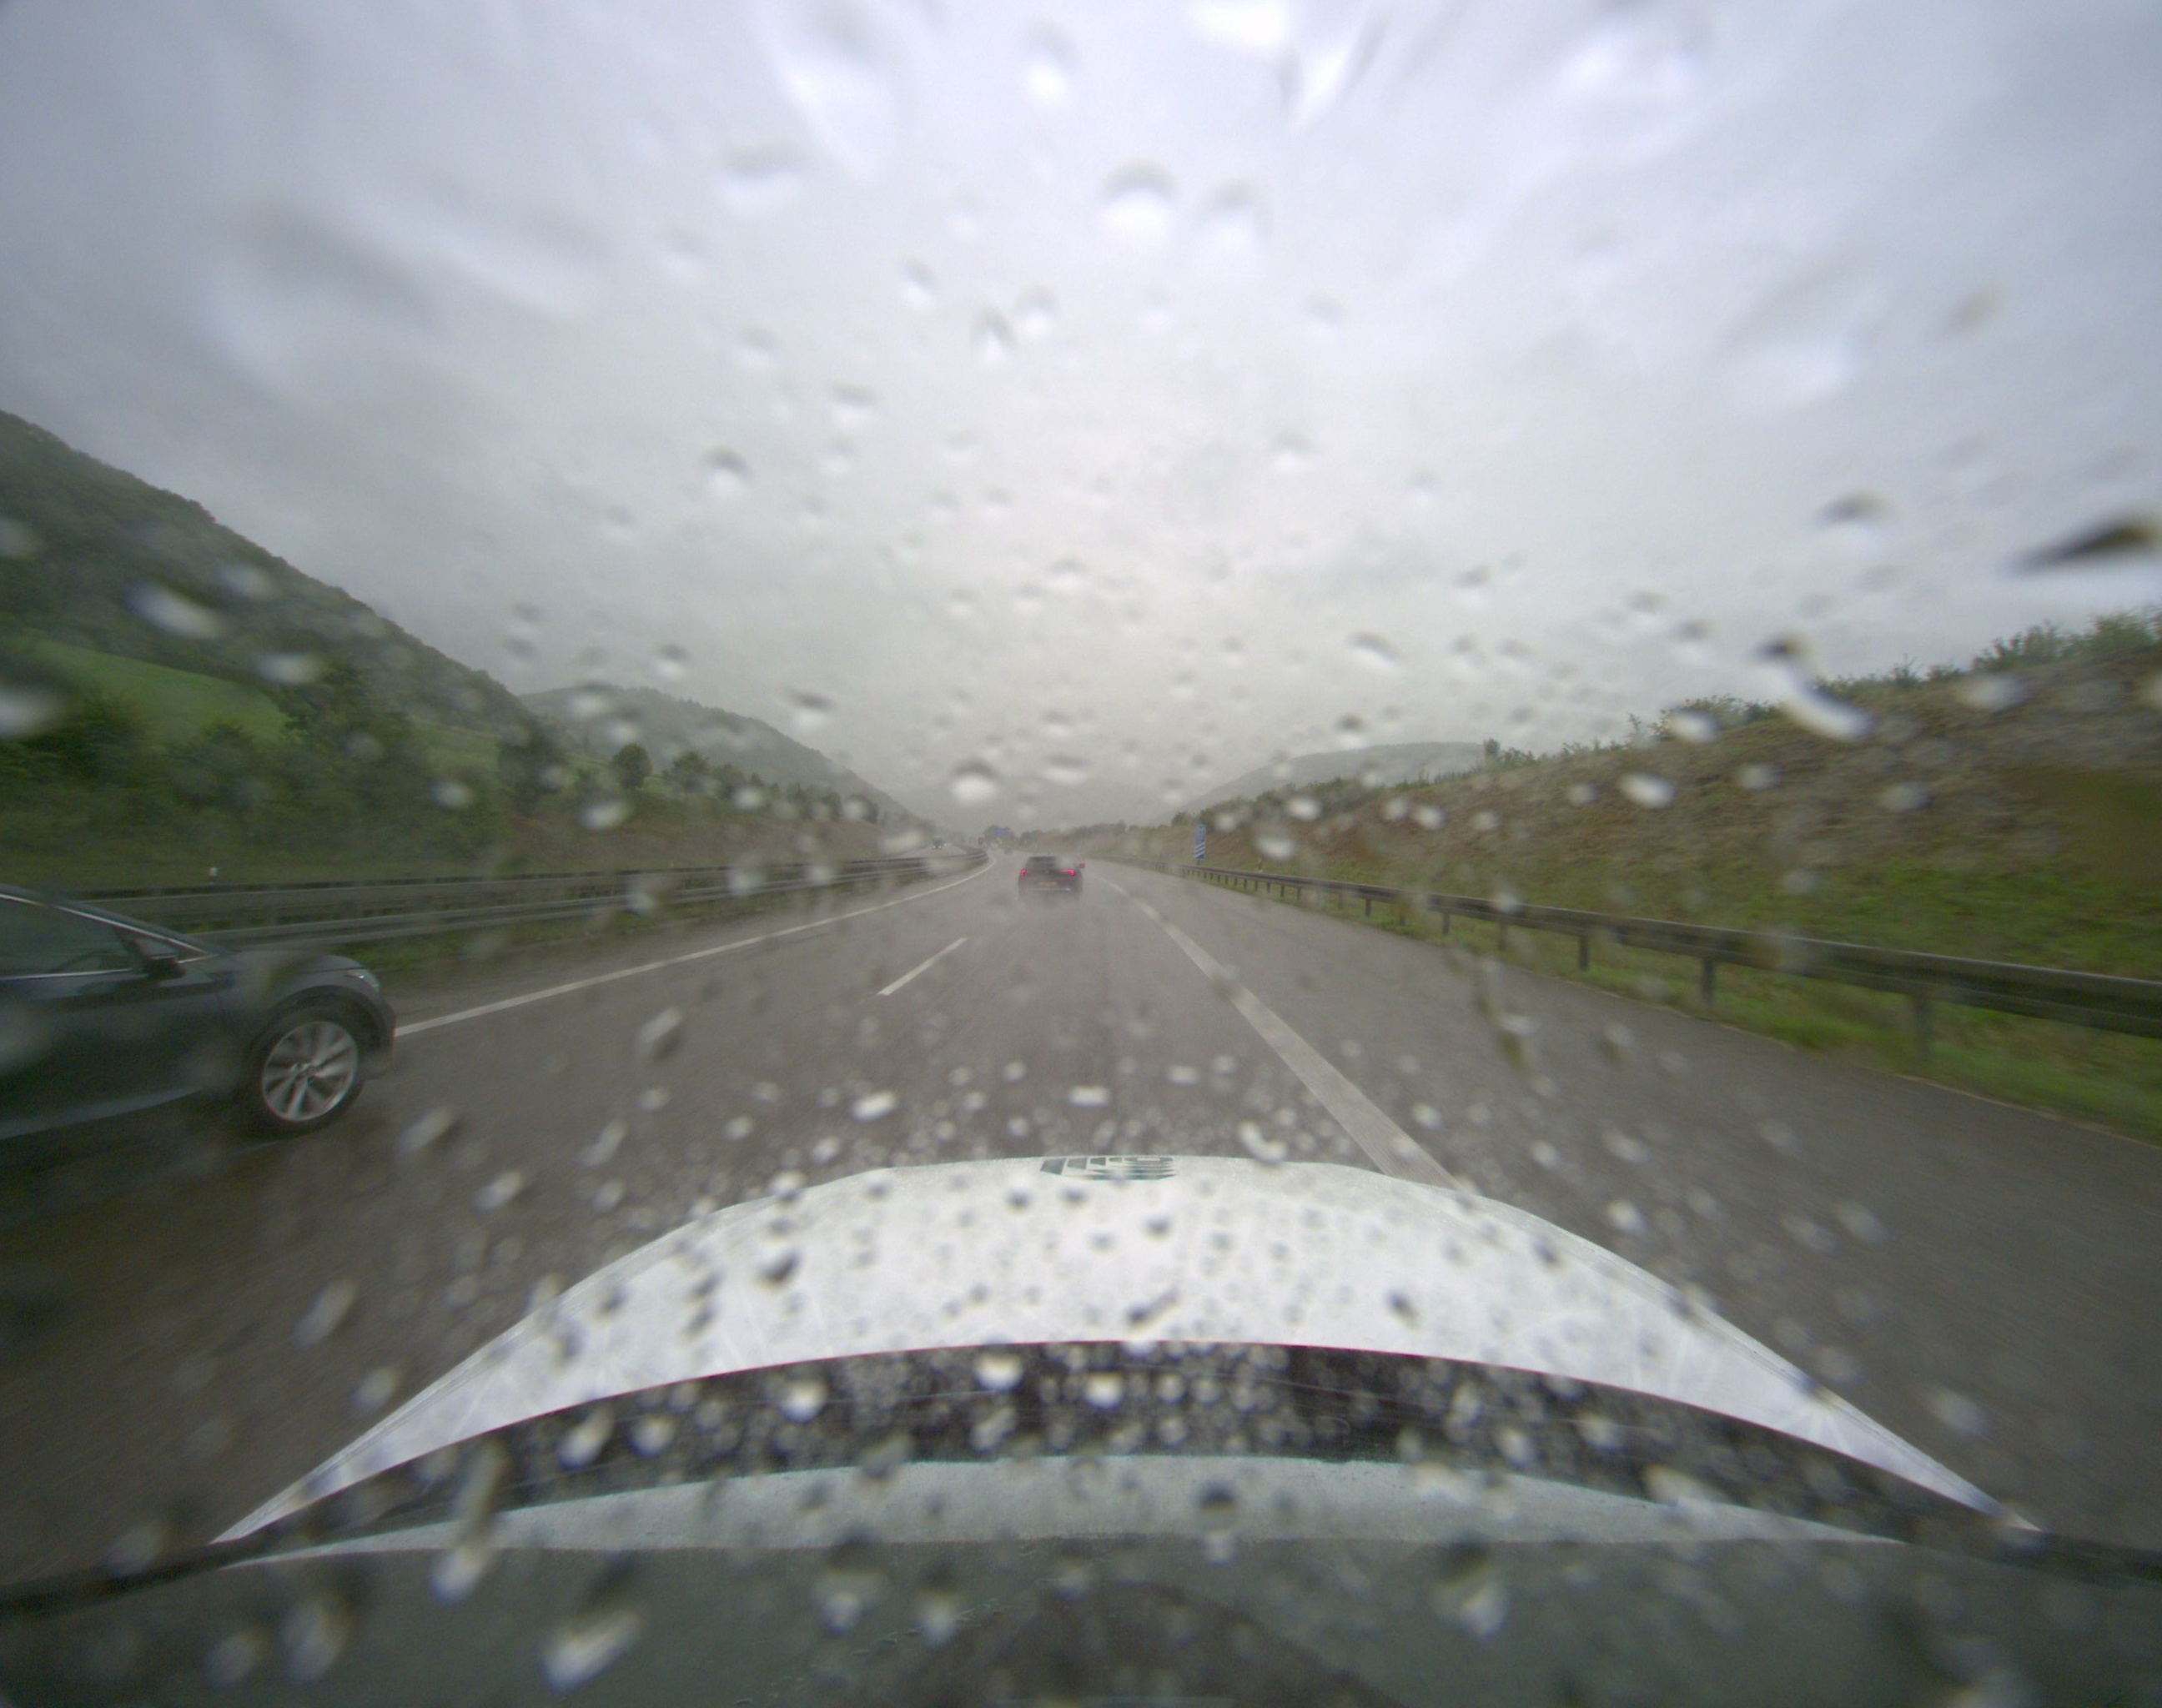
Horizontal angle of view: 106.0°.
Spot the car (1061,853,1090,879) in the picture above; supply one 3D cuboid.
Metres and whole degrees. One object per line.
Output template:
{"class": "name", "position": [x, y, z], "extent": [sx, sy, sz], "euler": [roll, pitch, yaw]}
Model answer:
{"class": "car", "position": [-0.319, 0.729, 50.010], "extent": [1.673, 1.472, 3.814], "euler": [1, -1, 0]}

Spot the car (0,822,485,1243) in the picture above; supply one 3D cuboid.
{"class": "car", "position": [-5.331, 0.744, 3.350], "extent": [1.986, 1.683, 4.911], "euler": [-2, -1, 2]}

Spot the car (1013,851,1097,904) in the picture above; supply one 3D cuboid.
{"class": "car", "position": [-0.831, 0.707, 25.909], "extent": [2.400, 1.515, 4.780], "euler": [1, -1, -2]}
